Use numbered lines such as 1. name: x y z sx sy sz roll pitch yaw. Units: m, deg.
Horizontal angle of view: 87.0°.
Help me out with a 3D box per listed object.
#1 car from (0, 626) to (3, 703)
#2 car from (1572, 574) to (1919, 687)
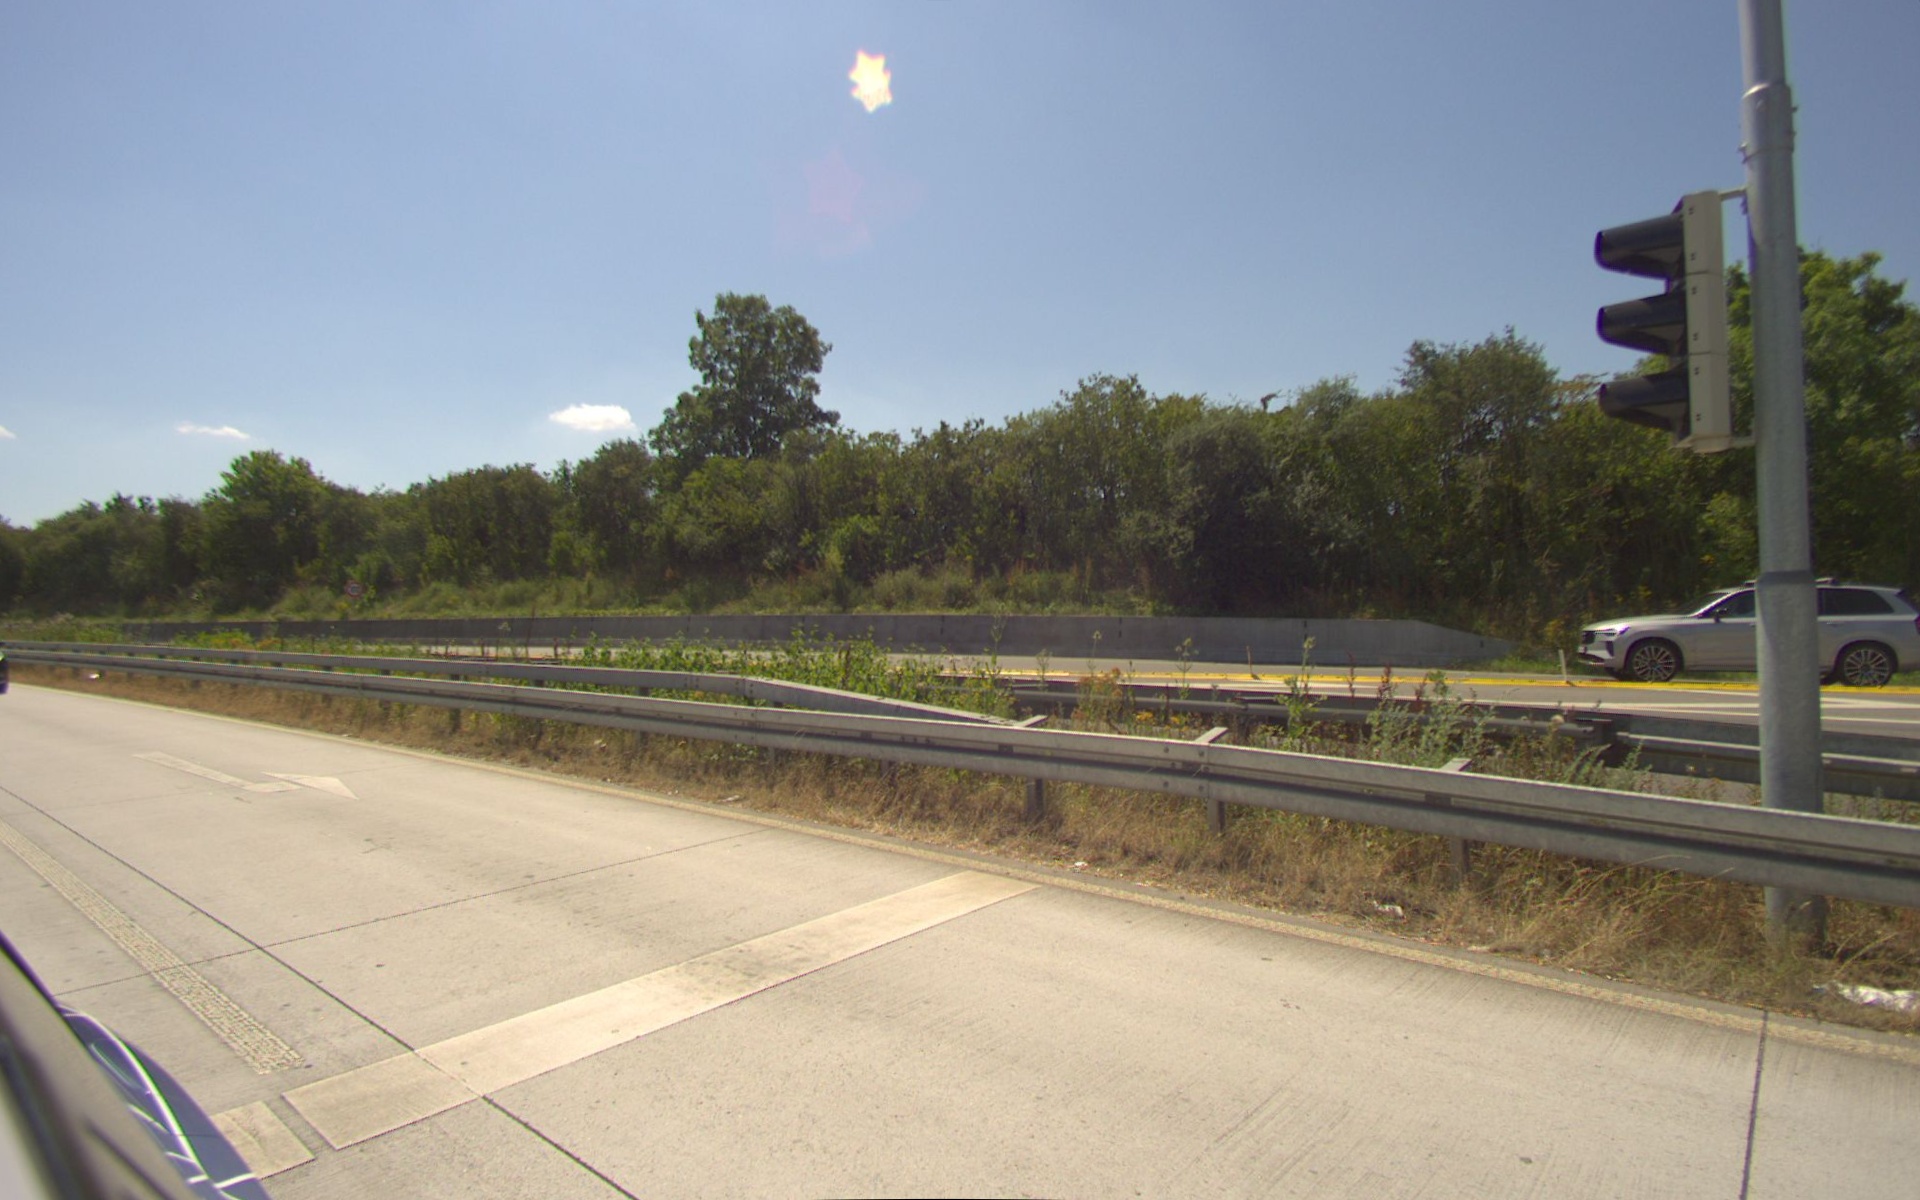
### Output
1. car: -20.526 1.264 20.112 3.994 1.496 1.607 -1 0 38
2. car: 13.663 0.509 17.596 4.820 1.786 1.987 -1 -1 20
